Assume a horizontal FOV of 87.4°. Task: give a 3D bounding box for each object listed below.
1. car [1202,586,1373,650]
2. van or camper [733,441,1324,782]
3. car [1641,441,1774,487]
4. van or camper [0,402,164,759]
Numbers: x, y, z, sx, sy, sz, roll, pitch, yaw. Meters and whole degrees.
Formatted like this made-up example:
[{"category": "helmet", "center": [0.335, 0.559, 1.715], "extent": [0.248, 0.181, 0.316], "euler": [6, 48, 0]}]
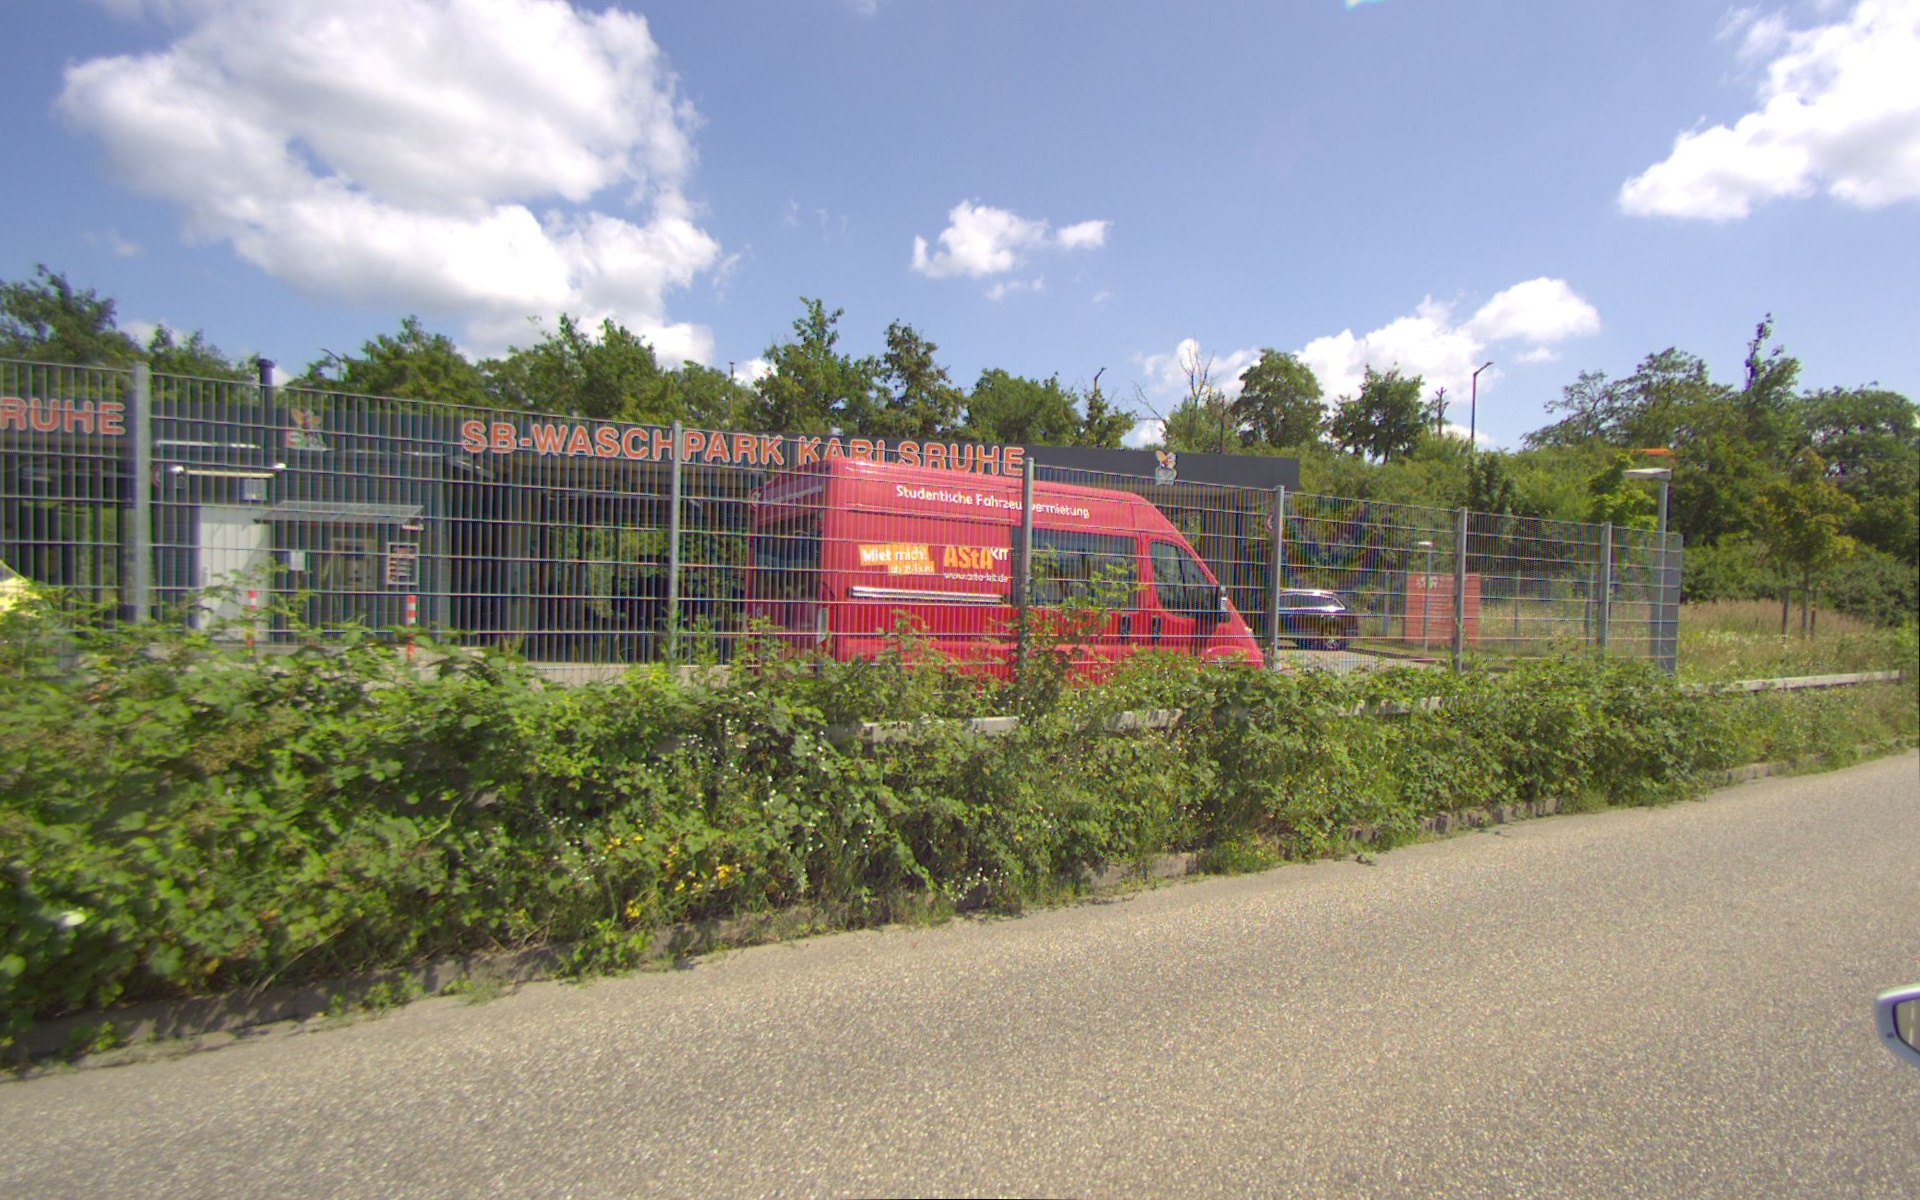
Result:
[{"category": "car", "center": [9.862, 0.528, 30.457], "extent": [4.462, 1.716, 1.997], "euler": [2, 2, -7]}, {"category": "van or camper", "center": [0.838, 0.154, 9.924], "extent": [5.637, 2.547, 2.177], "euler": [1, -2, -31]}, {"category": "car", "center": [39.304, -7.144, 52.944], "extent": [5.228, 2.040, 2.002], "euler": [1, -2, 12]}, {"category": "van or camper", "center": [-9.424, -0.227, 7.066], "extent": [5.554, 2.458, 2.247], "euler": [2, 0, -7]}]
